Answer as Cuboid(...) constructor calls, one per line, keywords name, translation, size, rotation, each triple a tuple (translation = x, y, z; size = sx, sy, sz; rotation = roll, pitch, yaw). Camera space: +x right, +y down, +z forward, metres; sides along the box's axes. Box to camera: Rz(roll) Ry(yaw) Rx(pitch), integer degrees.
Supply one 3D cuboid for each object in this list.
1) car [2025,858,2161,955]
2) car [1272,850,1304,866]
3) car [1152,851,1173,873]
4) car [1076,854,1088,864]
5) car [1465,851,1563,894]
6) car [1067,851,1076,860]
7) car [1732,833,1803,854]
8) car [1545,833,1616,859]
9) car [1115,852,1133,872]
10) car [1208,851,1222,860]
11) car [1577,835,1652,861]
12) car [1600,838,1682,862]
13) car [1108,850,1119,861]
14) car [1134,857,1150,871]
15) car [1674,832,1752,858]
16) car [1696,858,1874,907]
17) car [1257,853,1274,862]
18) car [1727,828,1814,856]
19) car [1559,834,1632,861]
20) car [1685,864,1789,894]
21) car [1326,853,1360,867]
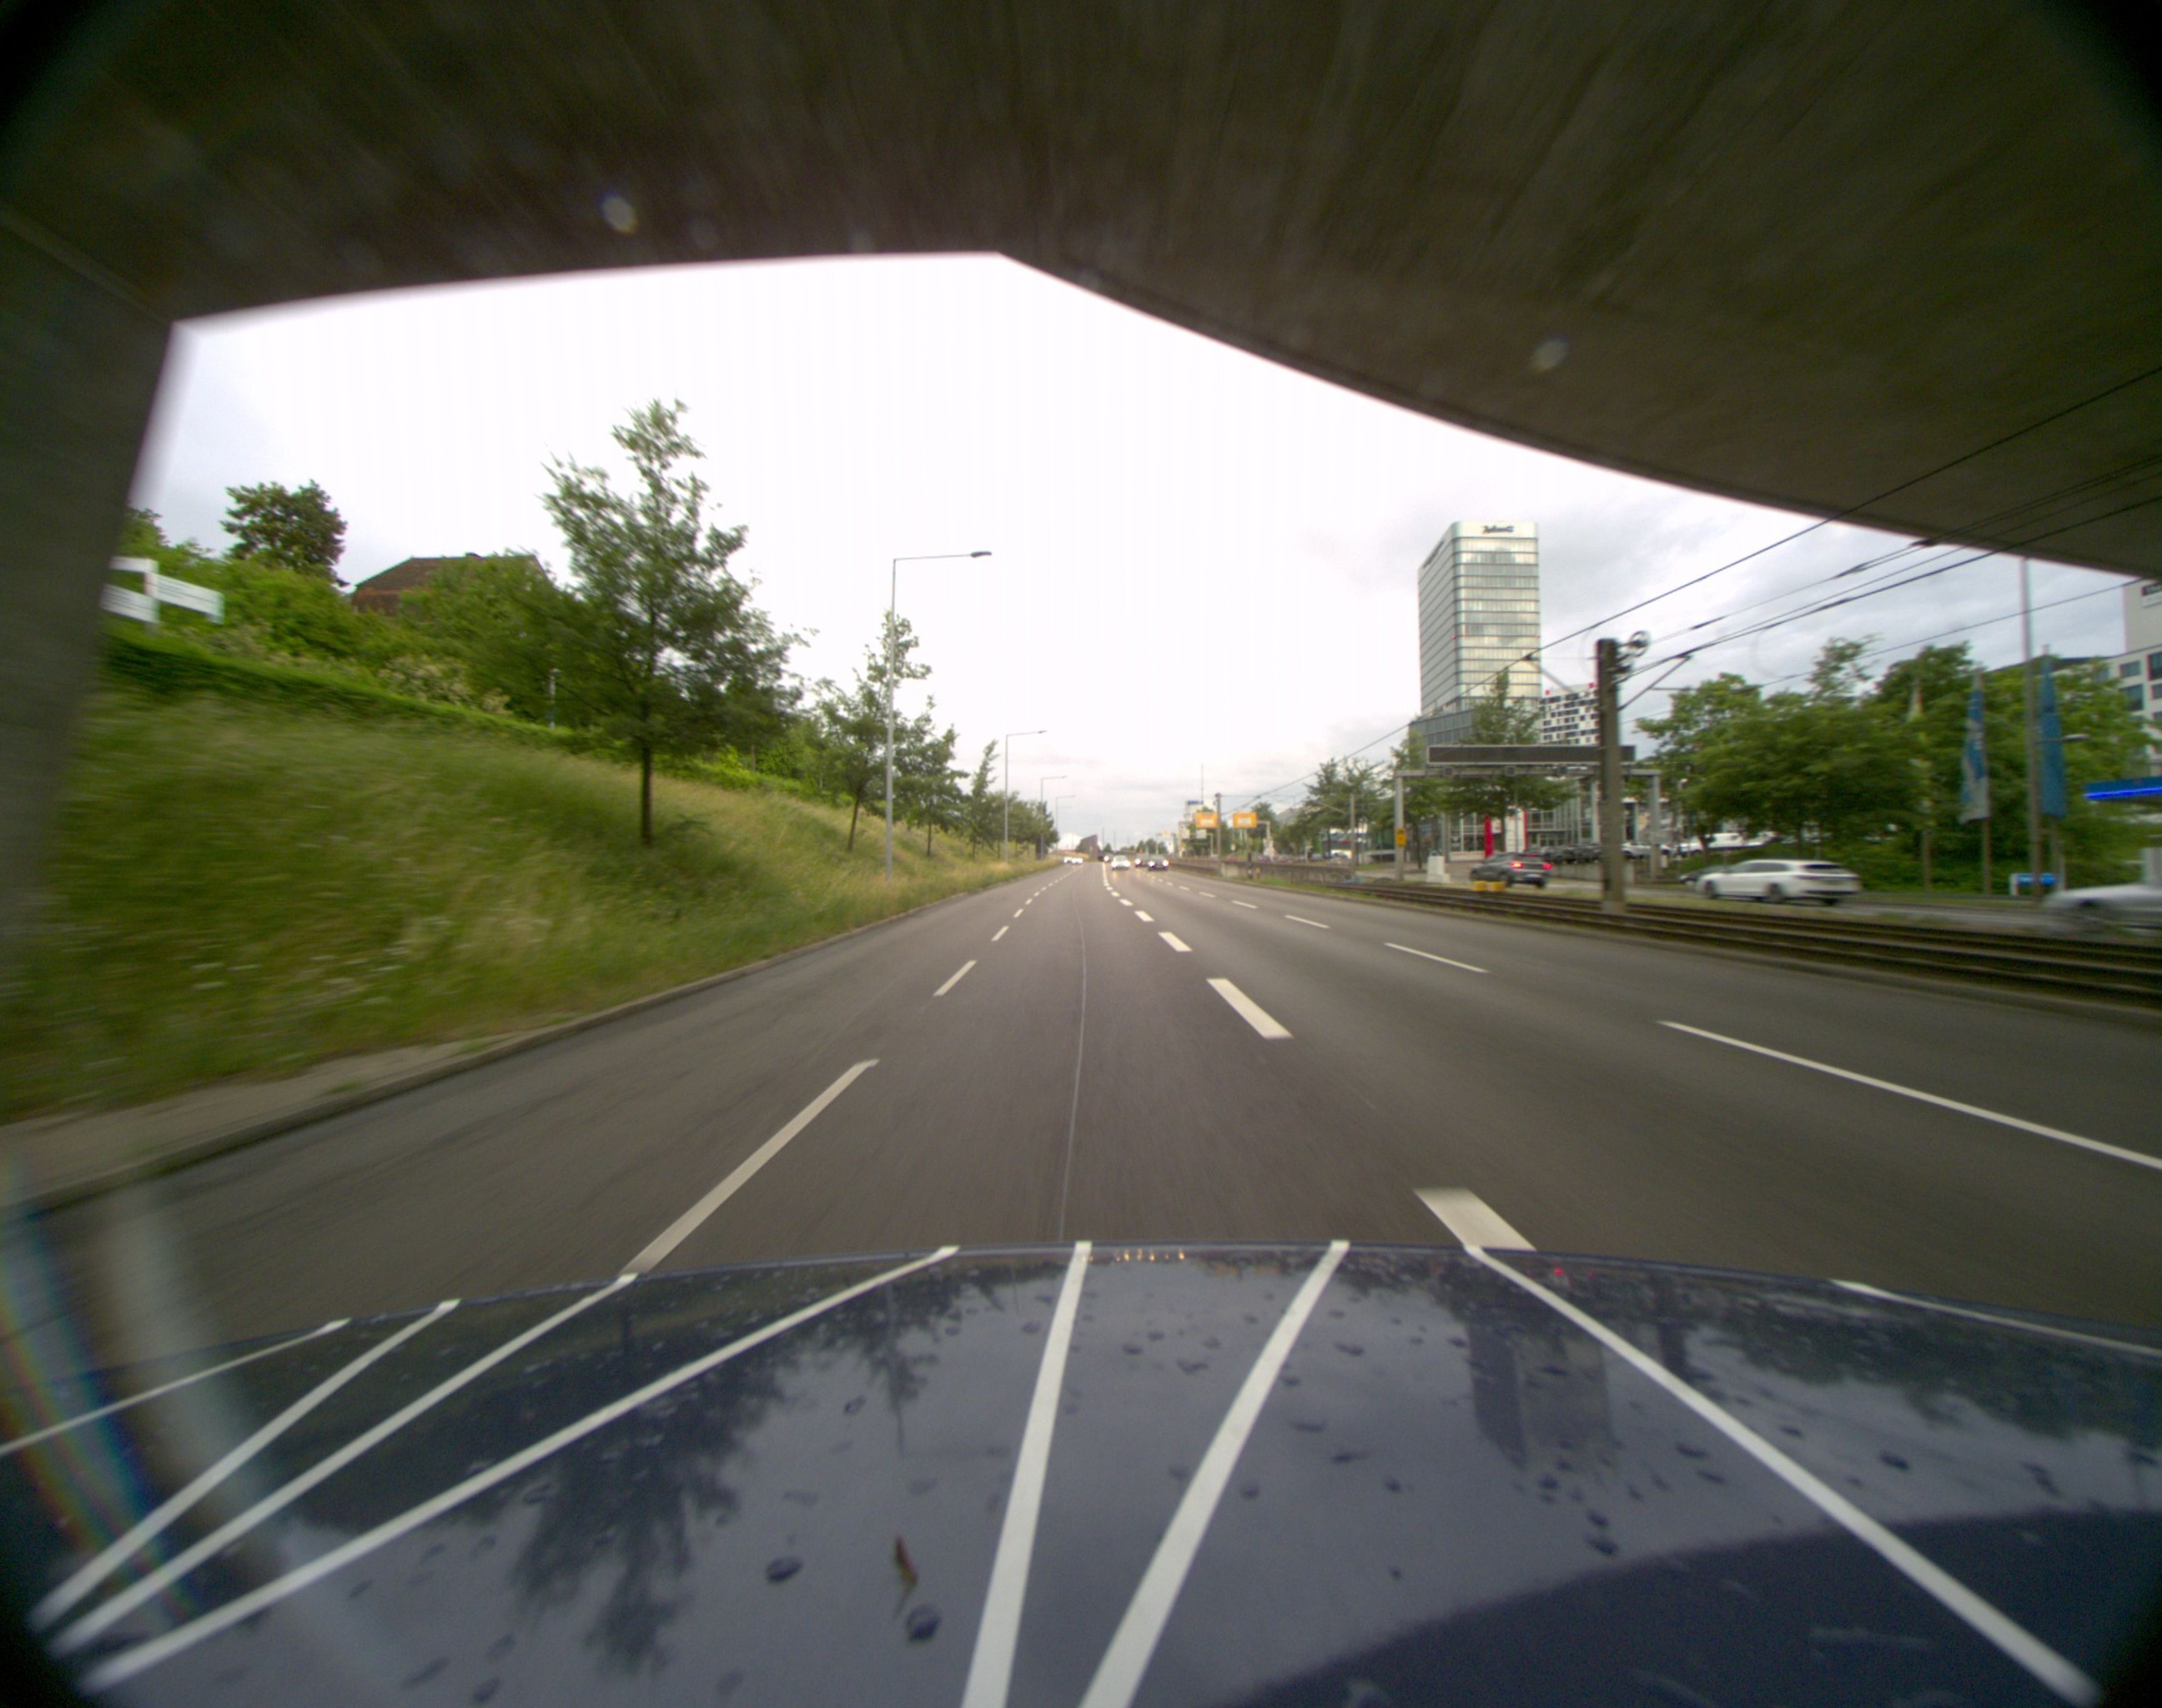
Cuboid(name="car", translation=(19.006, 0.874, 12.226), size=(1.768, 1.588, 4.793), rotation=(-2, -1, 3))
Cuboid(name="car", translation=(21.506, 0.391, 79.231), size=(2.052, 1.530, 4.760), rotation=(-2, -1, 0))
Cuboid(name="car", translation=(7.657, 0.724, 71.883), size=(1.793, 1.858, 4.378), rotation=(-2, 1, 4))
Cuboid(name="car", translation=(0.226, 0.861, 133.078), size=(1.793, 1.621, 4.378), rotation=(-2, 1, 4))
Cuboid(name="car", translation=(19.545, 0.795, 34.517), size=(1.925, 1.766, 4.224), rotation=(-2, -1, -1))
Cuboid(name="car", translation=(-1.891, 0.298, 154.882), size=(1.794, 1.621, 4.376), rotation=(-2, 1, 0))
Cuboid(name="car", translation=(54.985, -0.851, 60.945), size=(3.916, 1.584, 1.803), rotation=(-2, 1, 5))
Cuboid(name="car", translation=(40.240, -0.629, 61.304), size=(4.362, 1.936, 1.885), rotation=(-2, 1, 5))
Cuboid(name="car", translation=(4.571, 0.832, 80.721), size=(1.793, 1.858, 4.378), rotation=(-2, 1, 4))
Cuboid(name="car", translation=(22.552, 0.183, 128.076), size=(1.793, 1.392, 4.875), rotation=(-2, 1, 3))
Cuboid(name="car", translation=(39.940, -0.478, 56.908), size=(4.195, 1.762, 1.885), rotation=(-2, 1, 5))
Cuboid(name="car", translation=(40.043, -0.294, 54.396), size=(4.362, 1.495, 1.885), rotation=(-2, 1, 5))
Cuboid(name="car", translation=(5.953, 0.184, 139.285), size=(1.793, 1.858, 4.378), rotation=(-2, 1, 4))
Cuboid(name="car", translation=(7.192, 1.160, 90.047), size=(1.793, 1.535, 4.378), rotation=(-2, 1, 4))
Cuboid(name="car", translation=(49.230, -0.723, 59.288), size=(4.362, 1.804, 1.885), rotation=(-2, 1, 5))
Cuboid(name="car", translation=(23.850, 0.914, 26.044), size=(1.924, 1.488, 4.658), rotation=(2, 0, 3))
Cuboid(name="car", translation=(28.759, 0.500, 118.568), size=(1.770, 1.302, 4.112), rotation=(-2, 1, 4))
Cuboid(name="car", translation=(49.094, -0.838, 54.183), size=(4.362, 1.804, 1.885), rotation=(-2, 1, 5))
Cuboid(name="car", translation=(39.972, -0.520, 59.101), size=(4.362, 1.936, 1.885), rotation=(-2, 1, 5))
Cuboid(name="car", translation=(37.059, 1.392, 43.073), size=(4.355, 1.495, 1.889), rotation=(-1, 1, 39))
Cuboid(name="car", translation=(29.379, 0.695, 85.344), size=(2.053, 1.520, 4.567), rotation=(-2, -1, -2))
